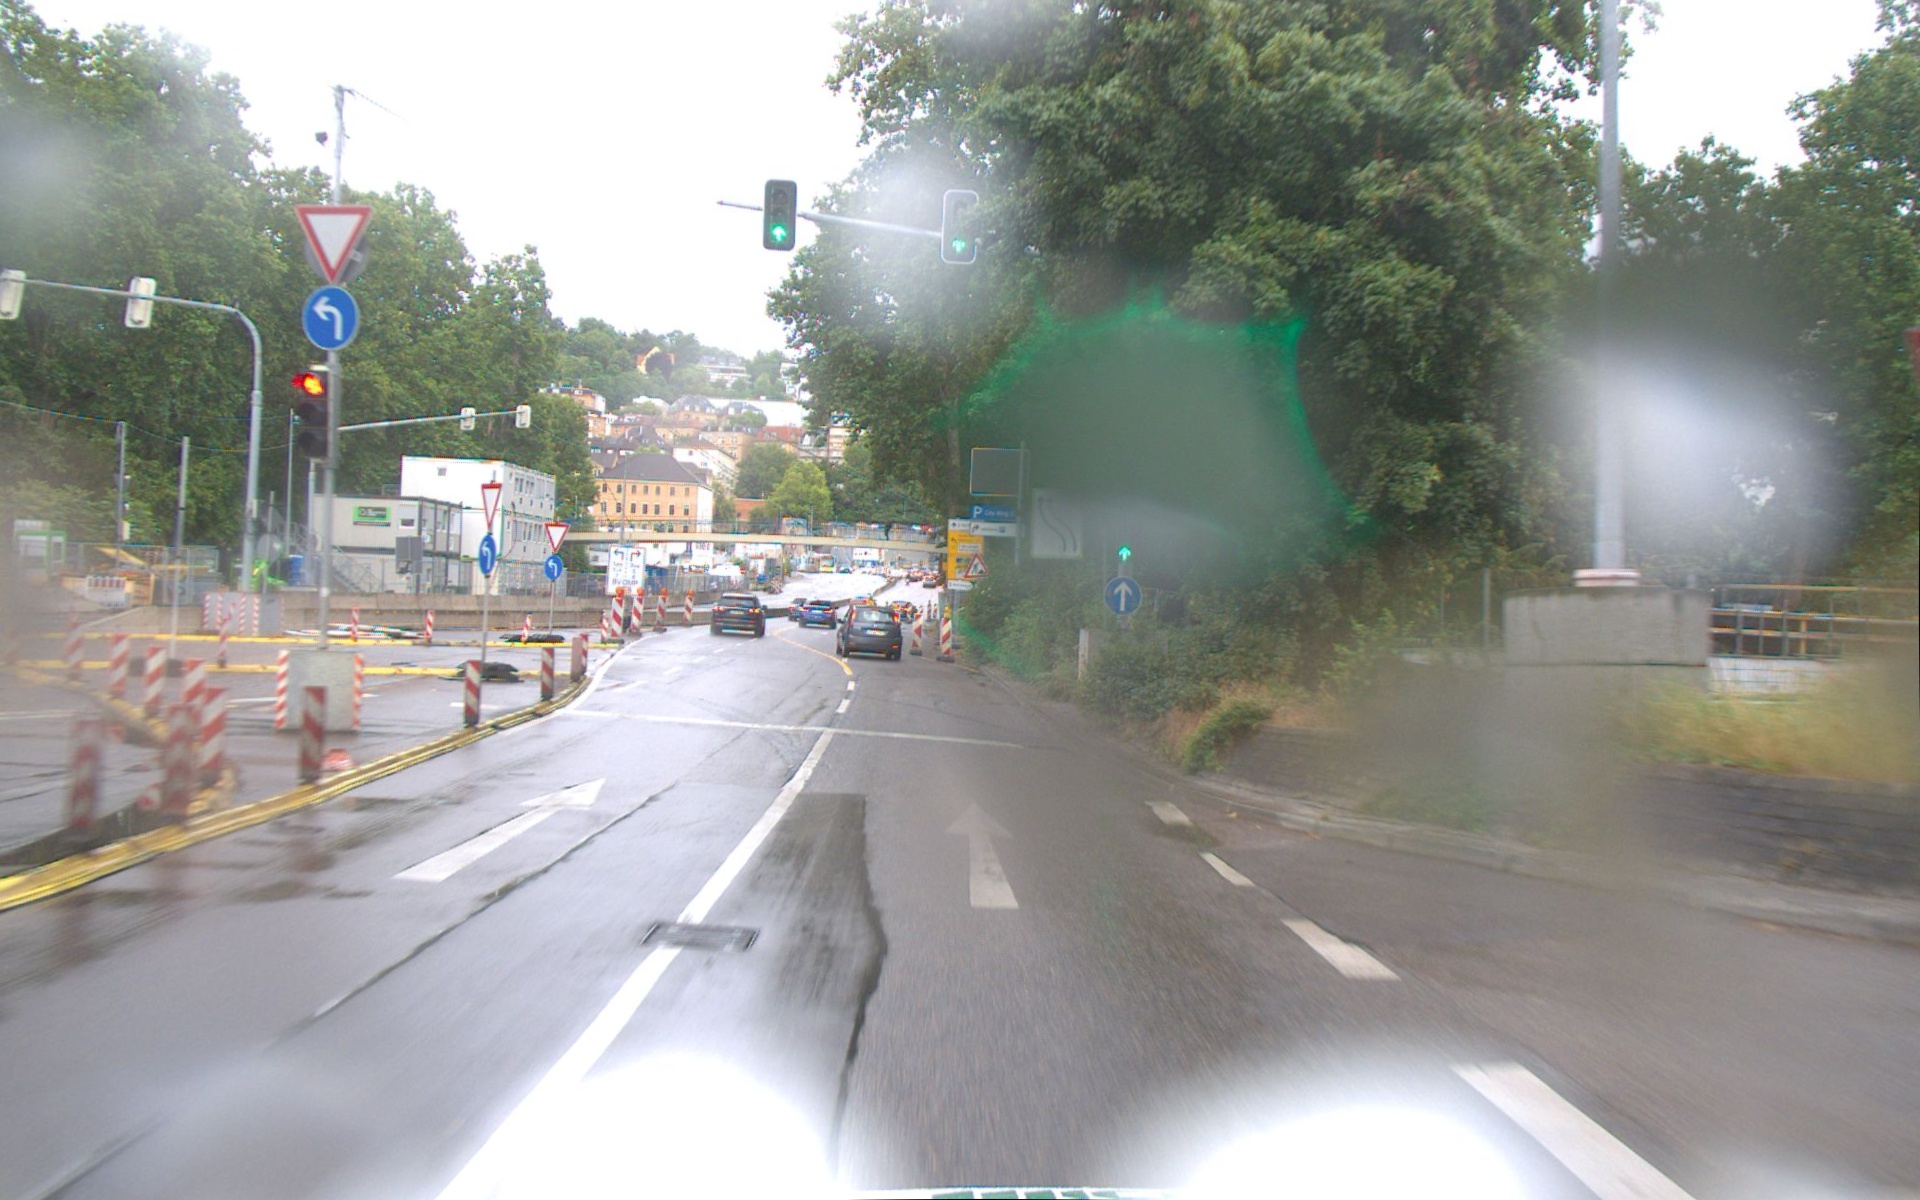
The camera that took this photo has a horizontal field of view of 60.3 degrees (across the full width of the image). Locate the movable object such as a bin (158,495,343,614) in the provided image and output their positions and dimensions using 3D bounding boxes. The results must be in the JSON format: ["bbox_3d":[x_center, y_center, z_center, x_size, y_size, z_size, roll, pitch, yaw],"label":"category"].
[{"bbox_3d":[-31.281,-1.902,73.474,4.653,4.887,8.357,2,0,-1],"label":"movable object such as a bin"}]

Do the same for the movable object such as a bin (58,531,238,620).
[{"bbox_3d":[-31.465,-0.916,64.442,3.852,3.183,6.386,2,0,-1],"label":"movable object such as a bin"}]

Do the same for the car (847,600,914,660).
[{"bbox_3d":[-2.282,0.820,46.682,1.776,1.553,3.997,1,0,-4],"label":"car"}]

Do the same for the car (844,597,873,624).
[{"bbox_3d":[-8.147,0.814,133.012,2.010,2.049,3.999,2,0,-1],"label":"car"}]

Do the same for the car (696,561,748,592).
[{"bbox_3d":[-24.021,-2.362,167.113,1.955,2.925,6.045,1,0,27],"label":"car"}]

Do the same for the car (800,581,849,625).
[{"bbox_3d":[-6.822,0.162,83.525,2.061,2.086,4.000,2,0,0],"label":"car"}]

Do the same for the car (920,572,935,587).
[{"bbox_3d":[-4.338,-2.785,220.721,1.953,1.902,3.999,2,0,-1],"label":"car"}]

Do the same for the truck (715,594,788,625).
[{"bbox_3d":[-18.117,0.816,144.161,6.157,2.495,2.690,2,0,-7],"label":"truck"}]

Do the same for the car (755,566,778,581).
[{"bbox_3d":[-23.190,-3.170,198.527,1.952,1.649,4.003,2,2,4],"label":"car"}]

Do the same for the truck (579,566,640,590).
[{"bbox_3d":[-32.172,-2.026,151.837,5.143,2.049,2.162,2,1,-4],"label":"truck"}]

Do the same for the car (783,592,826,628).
[{"bbox_3d":[-9.335,0.576,99.302,1.952,2.049,4.001,1,0,3],"label":"car"}]

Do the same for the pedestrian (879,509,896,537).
[{"bbox_3d":[-5.798,-6.122,131.559,1.123,2.096,1.060,1,0,8],"label":"pedestrian"}]

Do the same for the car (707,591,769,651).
[{"bbox_3d":[-8.027,0.742,60.070,1.977,2.049,3.996,2,0,-5],"label":"car"}]
